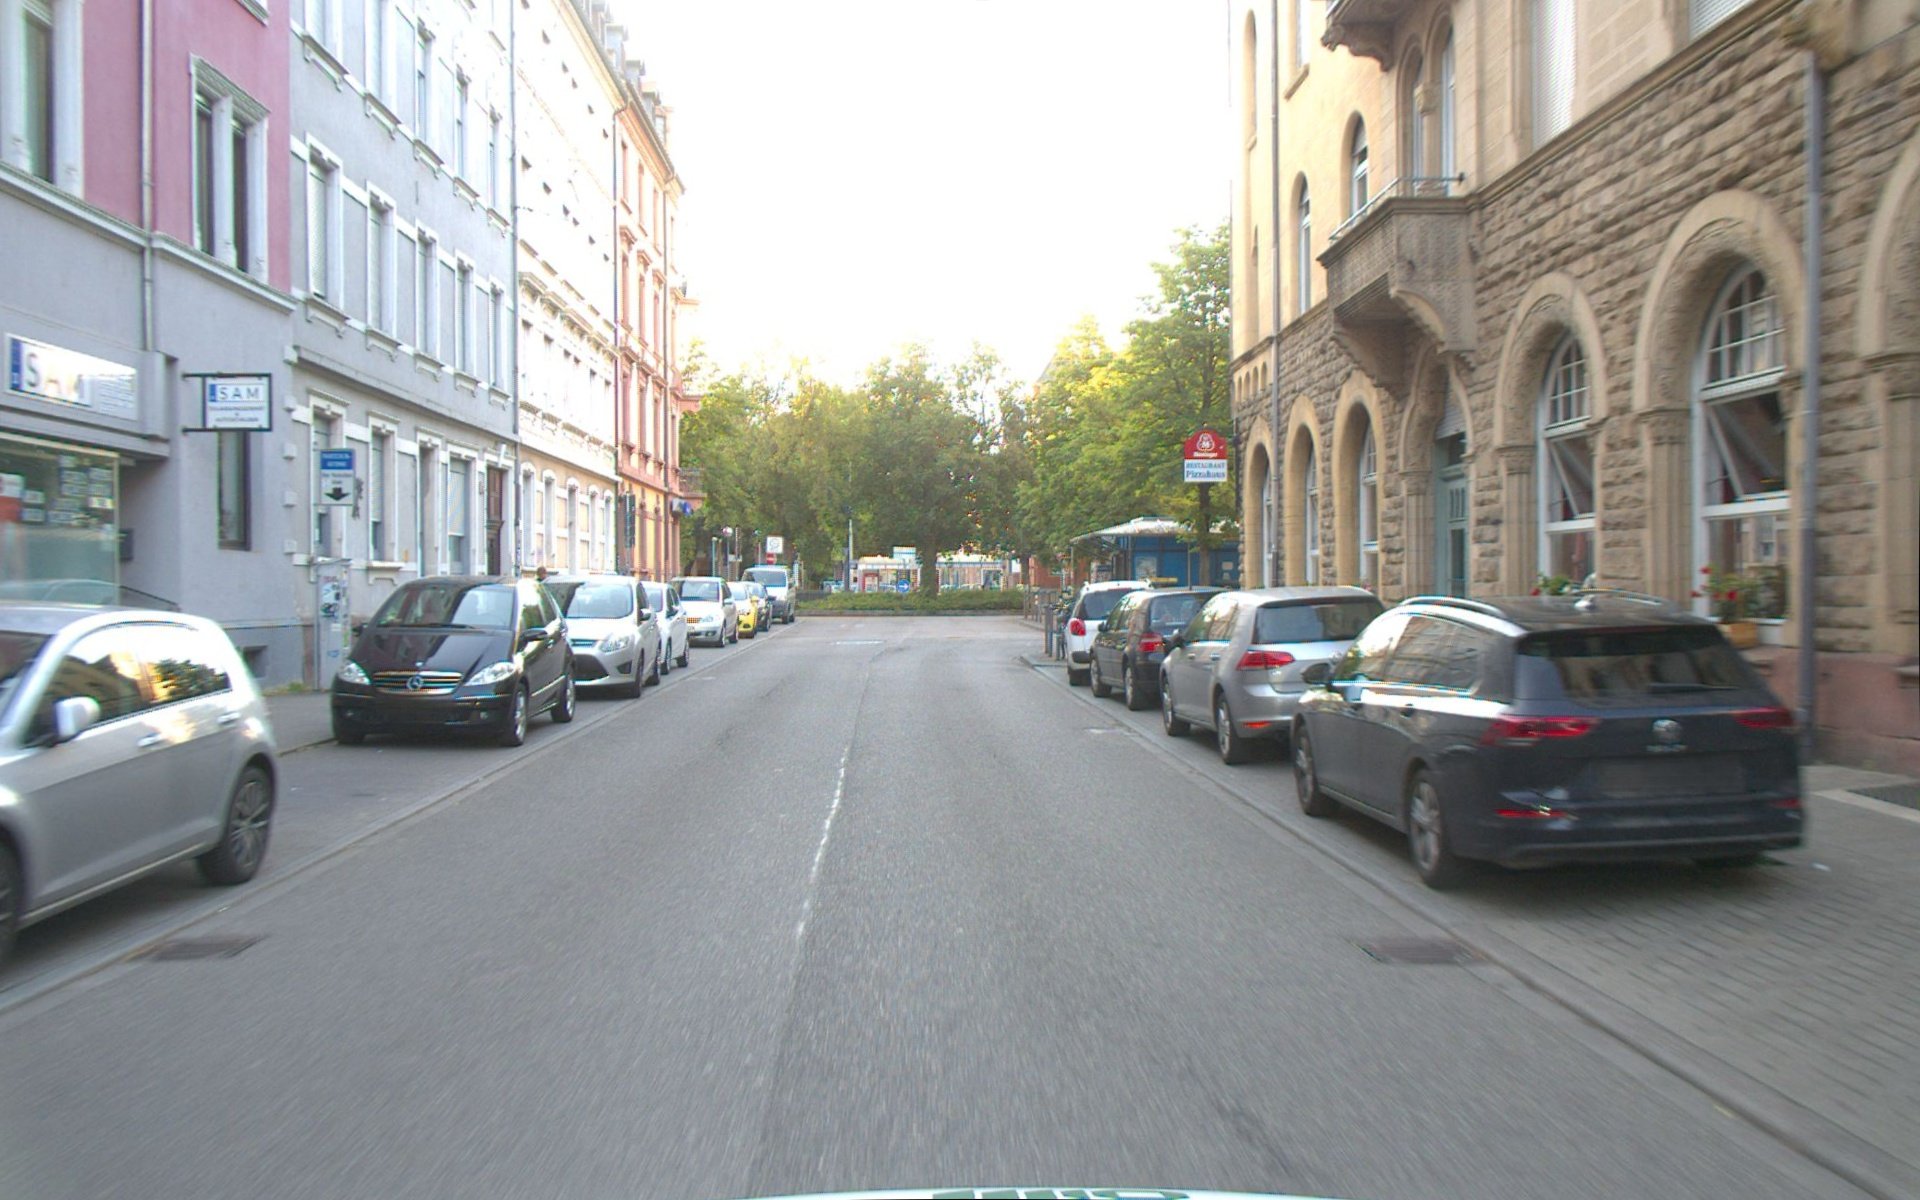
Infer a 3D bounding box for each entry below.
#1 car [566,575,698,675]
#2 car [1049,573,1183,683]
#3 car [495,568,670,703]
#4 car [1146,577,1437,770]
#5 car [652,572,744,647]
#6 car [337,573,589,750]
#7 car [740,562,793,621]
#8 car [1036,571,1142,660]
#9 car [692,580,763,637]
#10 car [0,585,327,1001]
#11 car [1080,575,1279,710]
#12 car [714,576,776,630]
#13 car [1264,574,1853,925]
[{"bbox_3d":[-5.582,0.386,28.513,1.664,1.579,3.567,1,0,-3],"label":"car"},{"bbox_3d":[2.408,0.388,26.285,1.642,1.527,3.900,-3,1,-1],"label":"car"},{"bbox_3d":[-5.162,0.427,23.124,1.809,1.688,4.248,-1,0,-5],"label":"car"},{"bbox_3d":[2.958,0.579,15.672,1.643,1.481,4.228,-3,1,-3],"label":"car"},{"bbox_3d":[-6.153,0.191,39.208,1.664,1.649,4.020,1,0,-3],"label":"car"},{"bbox_3d":[-4.950,0.541,16.949,1.603,1.593,3.779,1,1,-3],"label":"car"},{"bbox_3d":[-6.952,-0.305,59.517,1.776,2.011,4.181,1,0,-6],"label":"car"},{"bbox_3d":[2.452,0.257,32.348,1.642,1.527,4.017,-3,1,-1],"label":"car"},{"bbox_3d":[-6.351,0.213,45.459,1.665,1.451,4.018,1,0,-5],"label":"car"},{"bbox_3d":[-4.526,0.717,7.442,1.797,1.483,4.205,3,0,-2],"label":"car"},{"bbox_3d":[2.716,0.475,21.269,1.644,1.481,3.796,-3,1,-6],"label":"car"},{"bbox_3d":[-6.636,0.064,51.380,1.665,1.579,4.018,1,0,-5],"label":"car"},{"bbox_3d":[3.108,0.639,9.670,1.642,1.453,4.477,-4,1,-1],"label":"car"}]
